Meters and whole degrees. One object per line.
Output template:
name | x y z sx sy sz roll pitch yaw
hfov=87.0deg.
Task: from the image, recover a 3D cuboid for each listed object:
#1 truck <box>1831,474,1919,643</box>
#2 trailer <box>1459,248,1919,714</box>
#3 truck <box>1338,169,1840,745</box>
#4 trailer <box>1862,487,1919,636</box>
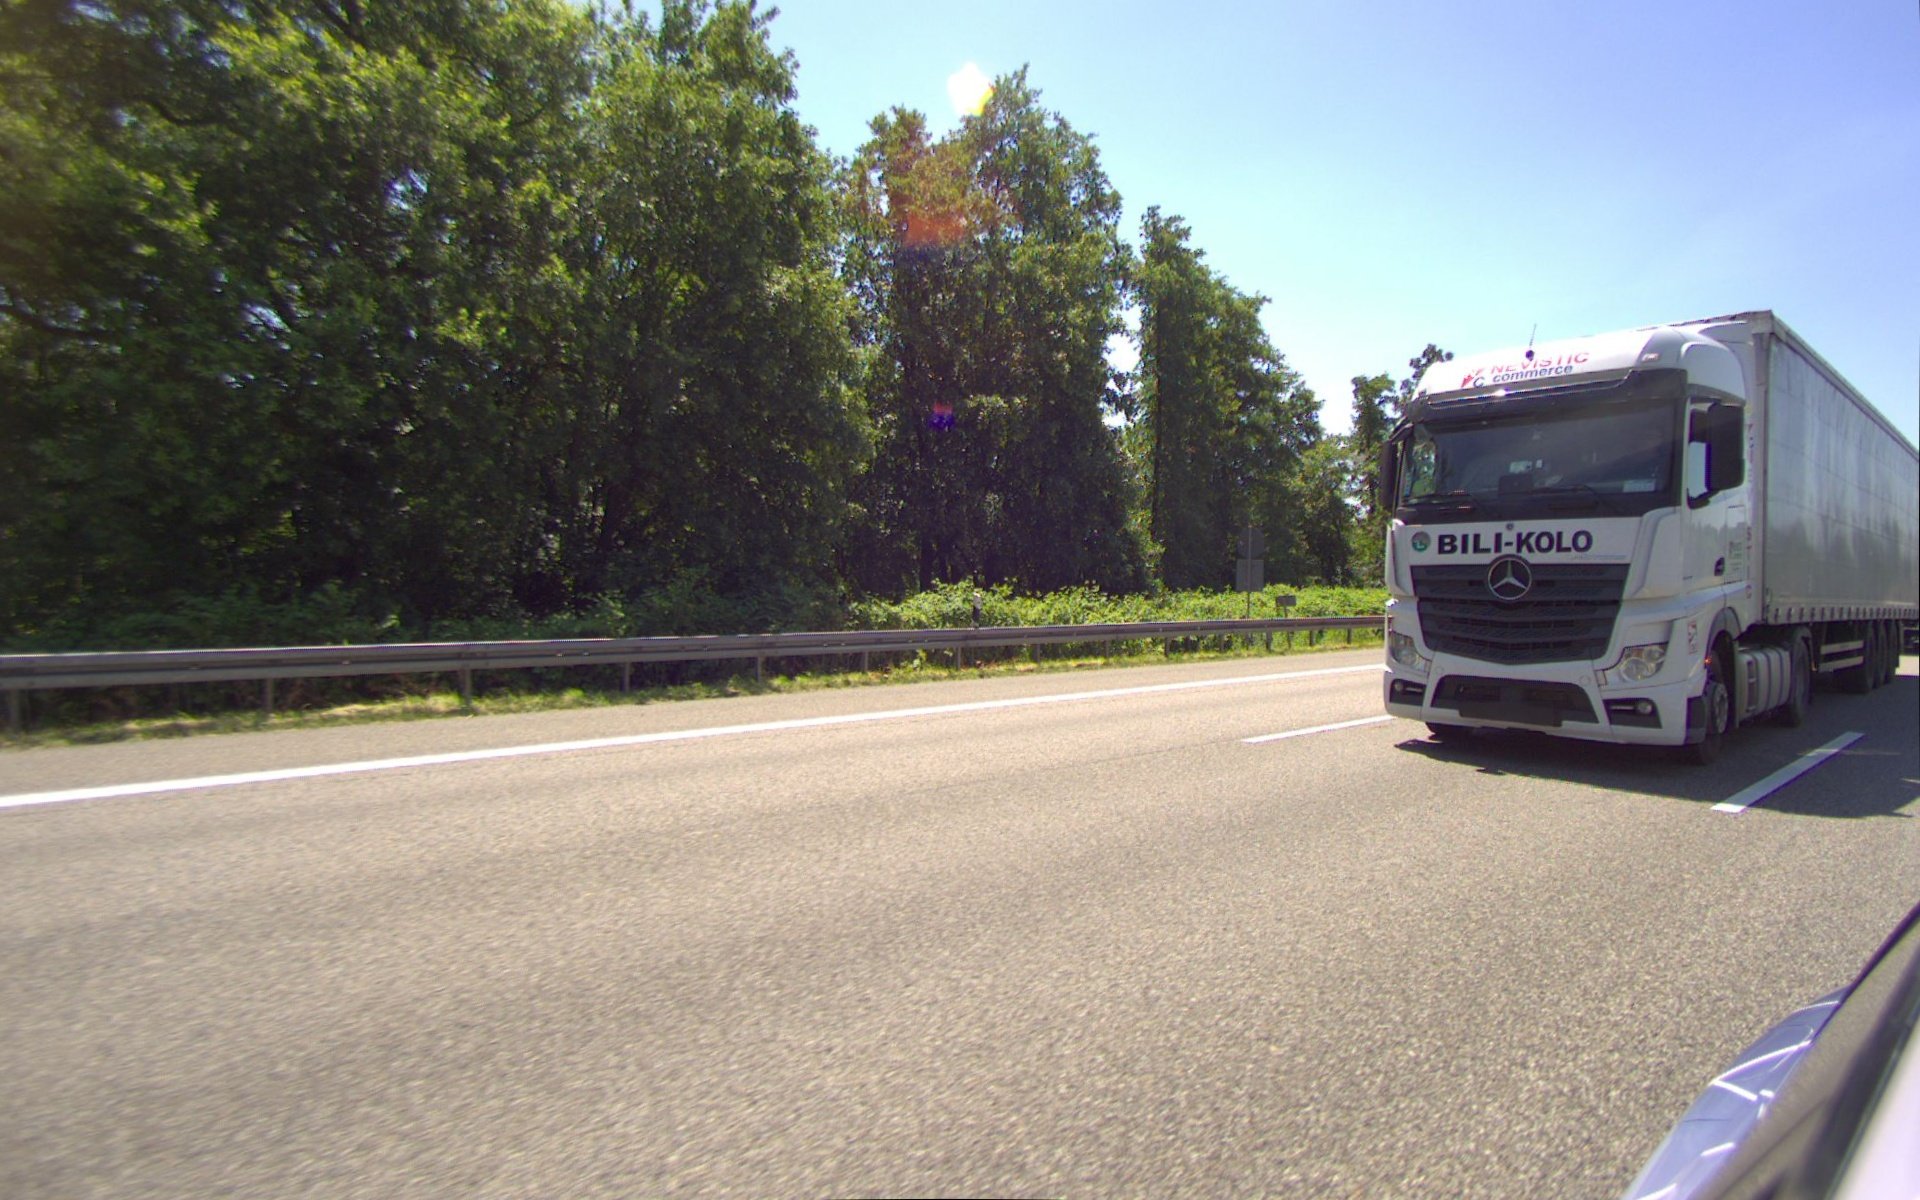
truck | 25.144 -1.031 26.444 5.916 4.057 2.804 -1 1 -41
trailer | 11.728 -1.206 14.806 14.492 4.119 2.712 -1 1 -42
truck | 6.743 -1.105 10.424 6.342 4.145 2.705 -1 1 -42
trailer | 31.054 -1.121 31.665 12.350 4.086 2.799 -1 1 -42
